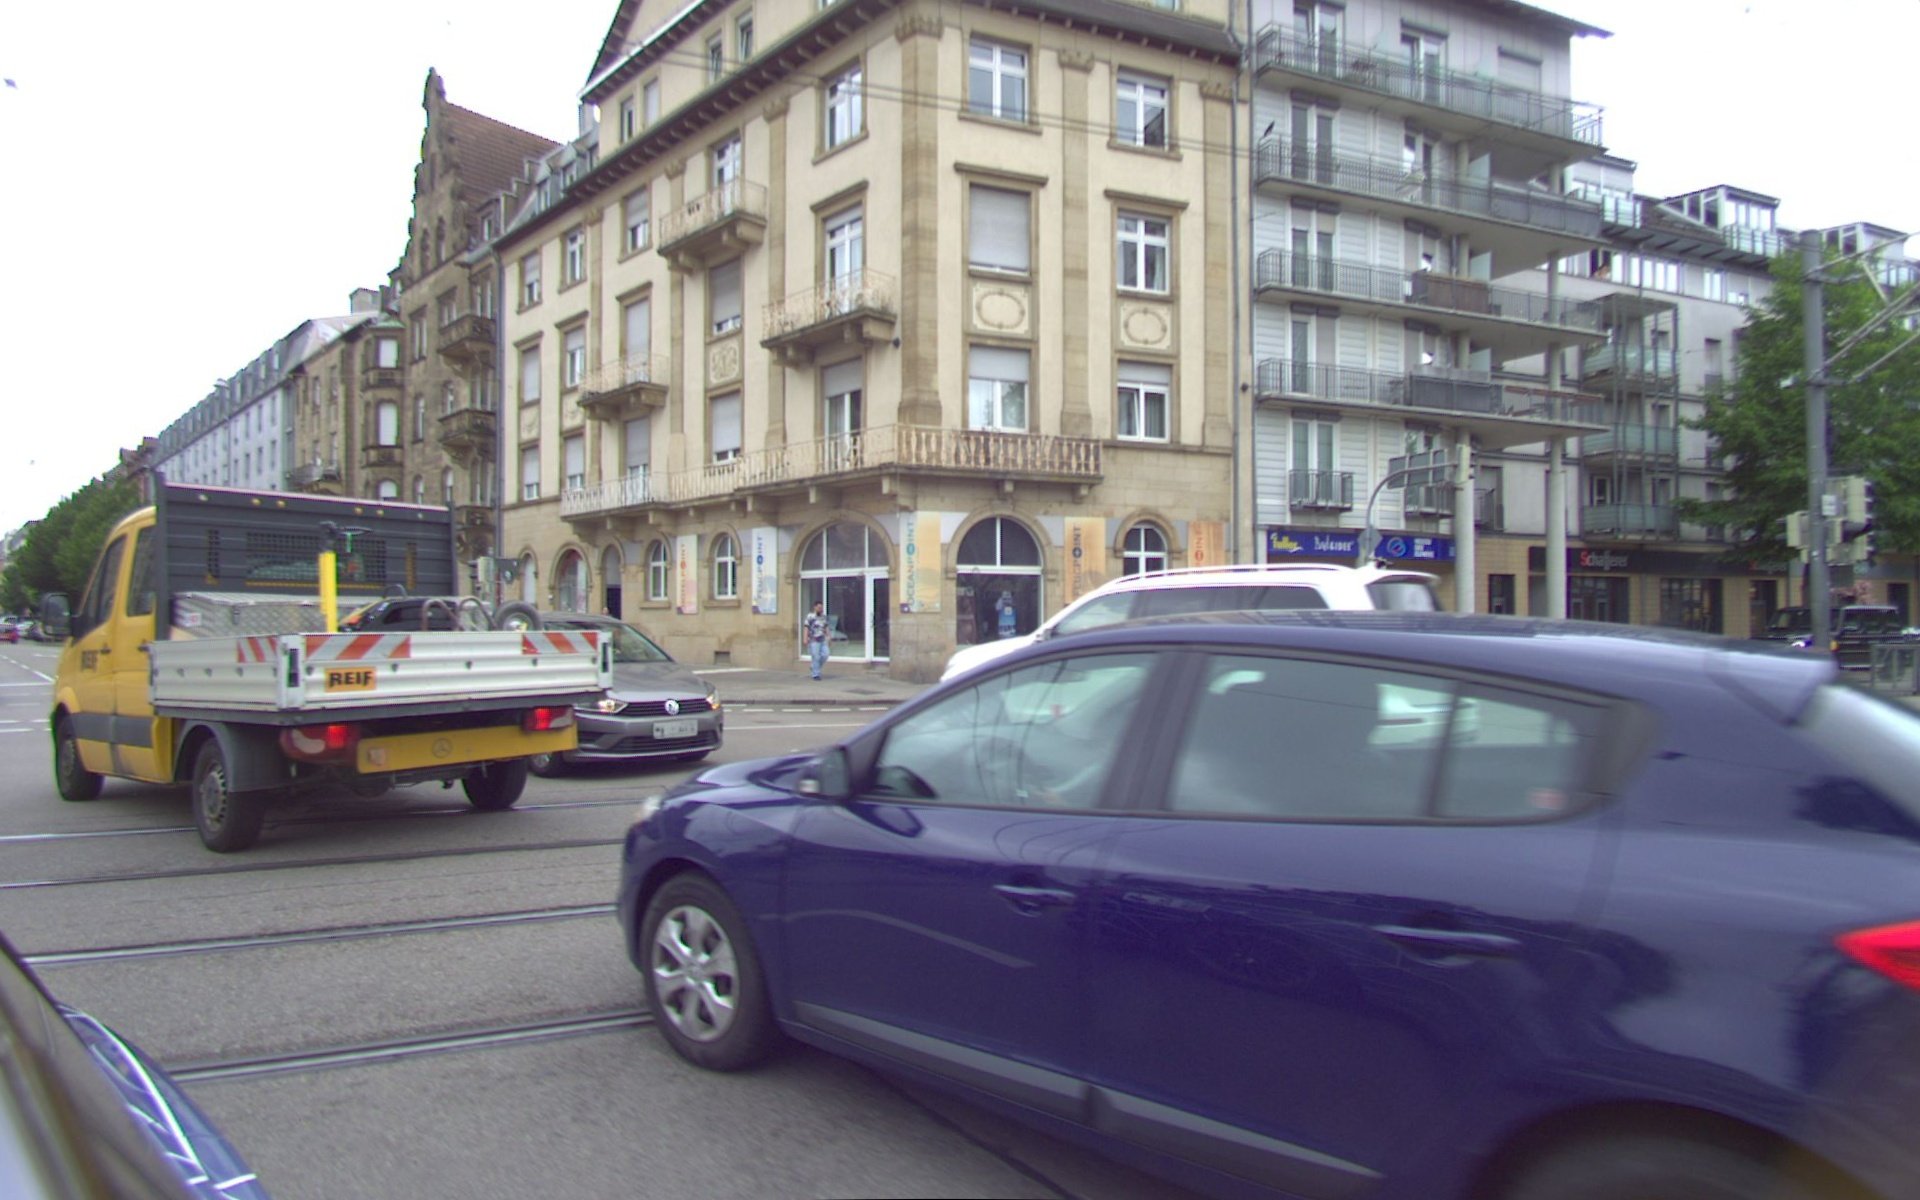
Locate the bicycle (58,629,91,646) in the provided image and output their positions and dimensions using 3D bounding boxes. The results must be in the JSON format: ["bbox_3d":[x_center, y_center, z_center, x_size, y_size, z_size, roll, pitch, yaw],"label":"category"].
[{"bbox_3d":[-58.878,2.500,67.320,0.416,1.082,1.608,-1,0,43],"label":"bicycle"}]

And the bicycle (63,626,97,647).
[{"bbox_3d":[-56.396,2.336,64.853,0.416,1.299,1.608,-1,0,43],"label":"bicycle"}]

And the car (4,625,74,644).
[{"bbox_3d":[-77.348,2.908,85.050,1.726,1.508,3.971,-1,-1,21],"label":"car"}]

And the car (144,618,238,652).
[{"bbox_3d":[-40.650,1.838,53.629,1.711,1.565,3.994,-2,1,5],"label":"car"}]

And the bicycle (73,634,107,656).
[{"bbox_3d":[-55.638,2.869,64.723,0.416,1.363,1.608,-1,0,43],"label":"bicycle"}]

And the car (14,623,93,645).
[{"bbox_3d":[-68.308,2.537,76.301,1.986,1.641,3.971,-1,-1,21],"label":"car"}]

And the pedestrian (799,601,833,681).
[{"bbox_3d":[-3.276,0.919,23.030,0.560,1.799,0.551,1,-2,-44],"label":"pedestrian"}]

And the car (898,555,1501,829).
[{"bbox_3d":[1.842,0.673,9.332,1.845,1.840,5.229,1,-2,-45],"label":"car"}]

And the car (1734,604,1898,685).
[{"bbox_3d":[21.798,1.079,25.763,3.930,1.928,1.695,0,-1,-25],"label":"car"}]

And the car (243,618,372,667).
[{"bbox_3d":[-25.489,1.617,39.683,1.827,1.736,3.974,-1,0,20],"label":"car"}]

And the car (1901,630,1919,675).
[{"bbox_3d":[35.875,1.869,36.535,3.932,1.536,1.820,0,0,-32],"label":"car"}]

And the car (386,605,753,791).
[{"bbox_3d":[-4.086,0.855,10.323,3.995,1.536,1.716,-1,-2,38],"label":"car"}]

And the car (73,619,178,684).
[{"bbox_3d":[-22.712,1.331,27.490,1.884,1.619,4.254,1,-1,-44],"label":"car"}]

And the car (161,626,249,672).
[{"bbox_3d":[-26.771,1.697,35.867,3.998,1.536,1.714,-1,-2,41],"label":"car"}]

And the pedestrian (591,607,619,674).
[{"bbox_3d":[-10.619,1.192,30.273,0.612,1.973,0.551,1,-2,-44],"label":"pedestrian"}]

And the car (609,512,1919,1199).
[{"bbox_3d":[0.807,0.660,2.816,3.902,1.500,1.649,-1,-1,41],"label":"car"}]

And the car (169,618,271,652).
[{"bbox_3d":[-36.362,1.695,49.825,1.806,1.456,3.732,-2,1,14],"label":"car"}]

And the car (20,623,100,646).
[{"bbox_3d":[-66.192,2.510,74.505,1.986,1.641,3.971,-1,-1,21],"label":"car"}]

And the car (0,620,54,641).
[{"bbox_3d":[-91.408,2.961,98.813,1.986,1.923,3.971,-1,-1,21],"label":"car"}]

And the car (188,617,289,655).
[{"bbox_3d":[-34.342,1.698,48.321,1.683,1.565,3.993,-2,1,6],"label":"car"}]

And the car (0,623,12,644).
[{"bbox_3d":[-67.033,2.316,70.209,3.511,1.458,1.631,-1,-2,43],"label":"car"}]

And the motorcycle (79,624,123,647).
[{"bbox_3d":[-54.319,2.259,64.013,0.599,1.363,2.094,-1,0,45],"label":"motorcycle"}]

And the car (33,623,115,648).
[{"bbox_3d":[-61.764,2.443,70.628,1.760,1.641,3.971,-1,-1,21],"label":"car"}]

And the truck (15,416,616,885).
[{"bbox_3d":[-5.142,0.322,7.715,5.452,2.427,2.056,-1,-2,37],"label":"truck"}]
